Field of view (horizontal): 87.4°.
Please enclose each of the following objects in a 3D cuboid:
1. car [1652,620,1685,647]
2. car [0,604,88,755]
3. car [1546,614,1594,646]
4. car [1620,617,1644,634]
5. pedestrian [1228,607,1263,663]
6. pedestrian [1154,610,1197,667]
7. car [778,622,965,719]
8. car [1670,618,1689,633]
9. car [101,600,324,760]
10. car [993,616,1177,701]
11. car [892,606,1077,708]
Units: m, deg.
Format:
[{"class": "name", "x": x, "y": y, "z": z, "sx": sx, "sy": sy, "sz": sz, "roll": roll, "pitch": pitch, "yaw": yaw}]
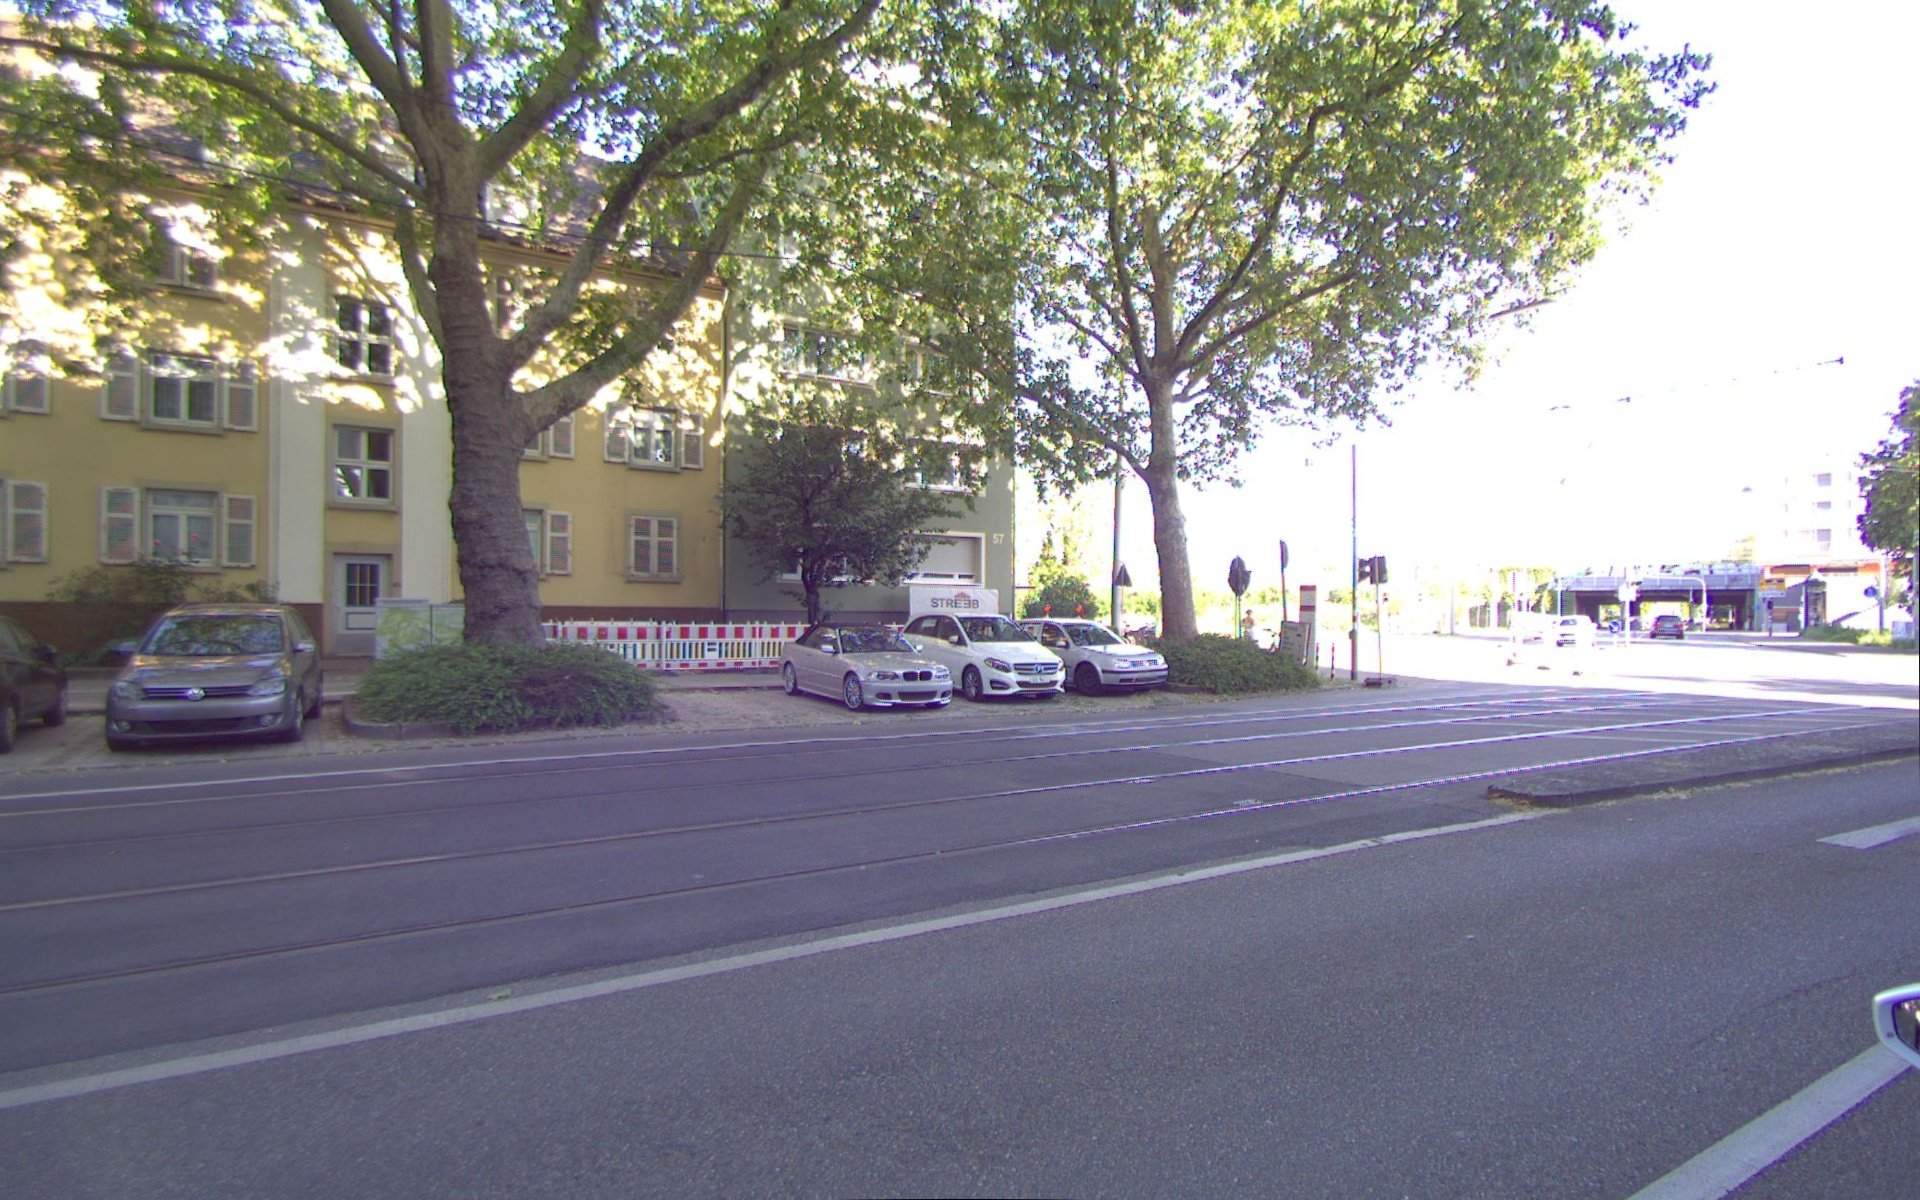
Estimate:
[{"class": "car", "x": 52.163, "y": 2.442, "z": 73.917, "sx": 1.884, "sy": 1.906, "sz": 4.828, "roll": 0, "pitch": -1, "yaw": 36}, {"class": "car", "x": -11.464, "y": 0.833, "z": 11.382, "sx": 1.652, "sy": 1.518, "sz": 3.778, "roll": 1, "pitch": 0, "yaw": -29}, {"class": "car", "x": 33.578, "y": 1.635, "z": 55.245, "sx": 1.860, "sy": 1.606, "sz": 3.823, "roll": 2, "pitch": 0, "yaw": 37}, {"class": "car", "x": 69.970, "y": 2.642, "z": 104.634, "sx": 1.860, "sy": 1.606, "sz": 3.823, "roll": 2, "pitch": 0, "yaw": 37}, {"class": "pedestrian", "x": 8.911, "y": 1.081, "z": 31.315, "sx": 0.761, "sy": 1.683, "sz": 0.953, "roll": 2, "pitch": 0, "yaw": 33}, {"class": "pedestrian", "x": 6.587, "y": 1.170, "z": 30.706, "sx": 0.919, "sy": 1.669, "sz": 0.841, "roll": 2, "pitch": 0, "yaw": -30}, {"class": "car", "x": -1.648, "y": 1.110, "z": 17.307, "sx": 1.651, "sy": 1.370, "sz": 3.949, "roll": 1, "pitch": 0, "yaw": -31}, {"class": "car", "x": 83.510, "y": 2.989, "z": 116.670, "sx": 1.731, "sy": 1.706, "sz": 3.729, "roll": 2, "pitch": 0, "yaw": 36}, {"class": "car", "x": -8.998, "y": 0.833, "z": 12.413, "sx": 1.652, "sy": 1.602, "sz": 3.953, "roll": 1, "pitch": 0, "yaw": -29}, {"class": "car", "x": 2.442, "y": 1.112, "z": 20.526, "sx": 1.651, "sy": 1.473, "sz": 3.949, "roll": 1, "pitch": 0, "yaw": -31}, {"class": "car", "x": 0.351, "y": 0.984, "z": 19.152, "sx": 1.651, "sy": 1.669, "sz": 3.949, "roll": 1, "pitch": 0, "yaw": -31}]
